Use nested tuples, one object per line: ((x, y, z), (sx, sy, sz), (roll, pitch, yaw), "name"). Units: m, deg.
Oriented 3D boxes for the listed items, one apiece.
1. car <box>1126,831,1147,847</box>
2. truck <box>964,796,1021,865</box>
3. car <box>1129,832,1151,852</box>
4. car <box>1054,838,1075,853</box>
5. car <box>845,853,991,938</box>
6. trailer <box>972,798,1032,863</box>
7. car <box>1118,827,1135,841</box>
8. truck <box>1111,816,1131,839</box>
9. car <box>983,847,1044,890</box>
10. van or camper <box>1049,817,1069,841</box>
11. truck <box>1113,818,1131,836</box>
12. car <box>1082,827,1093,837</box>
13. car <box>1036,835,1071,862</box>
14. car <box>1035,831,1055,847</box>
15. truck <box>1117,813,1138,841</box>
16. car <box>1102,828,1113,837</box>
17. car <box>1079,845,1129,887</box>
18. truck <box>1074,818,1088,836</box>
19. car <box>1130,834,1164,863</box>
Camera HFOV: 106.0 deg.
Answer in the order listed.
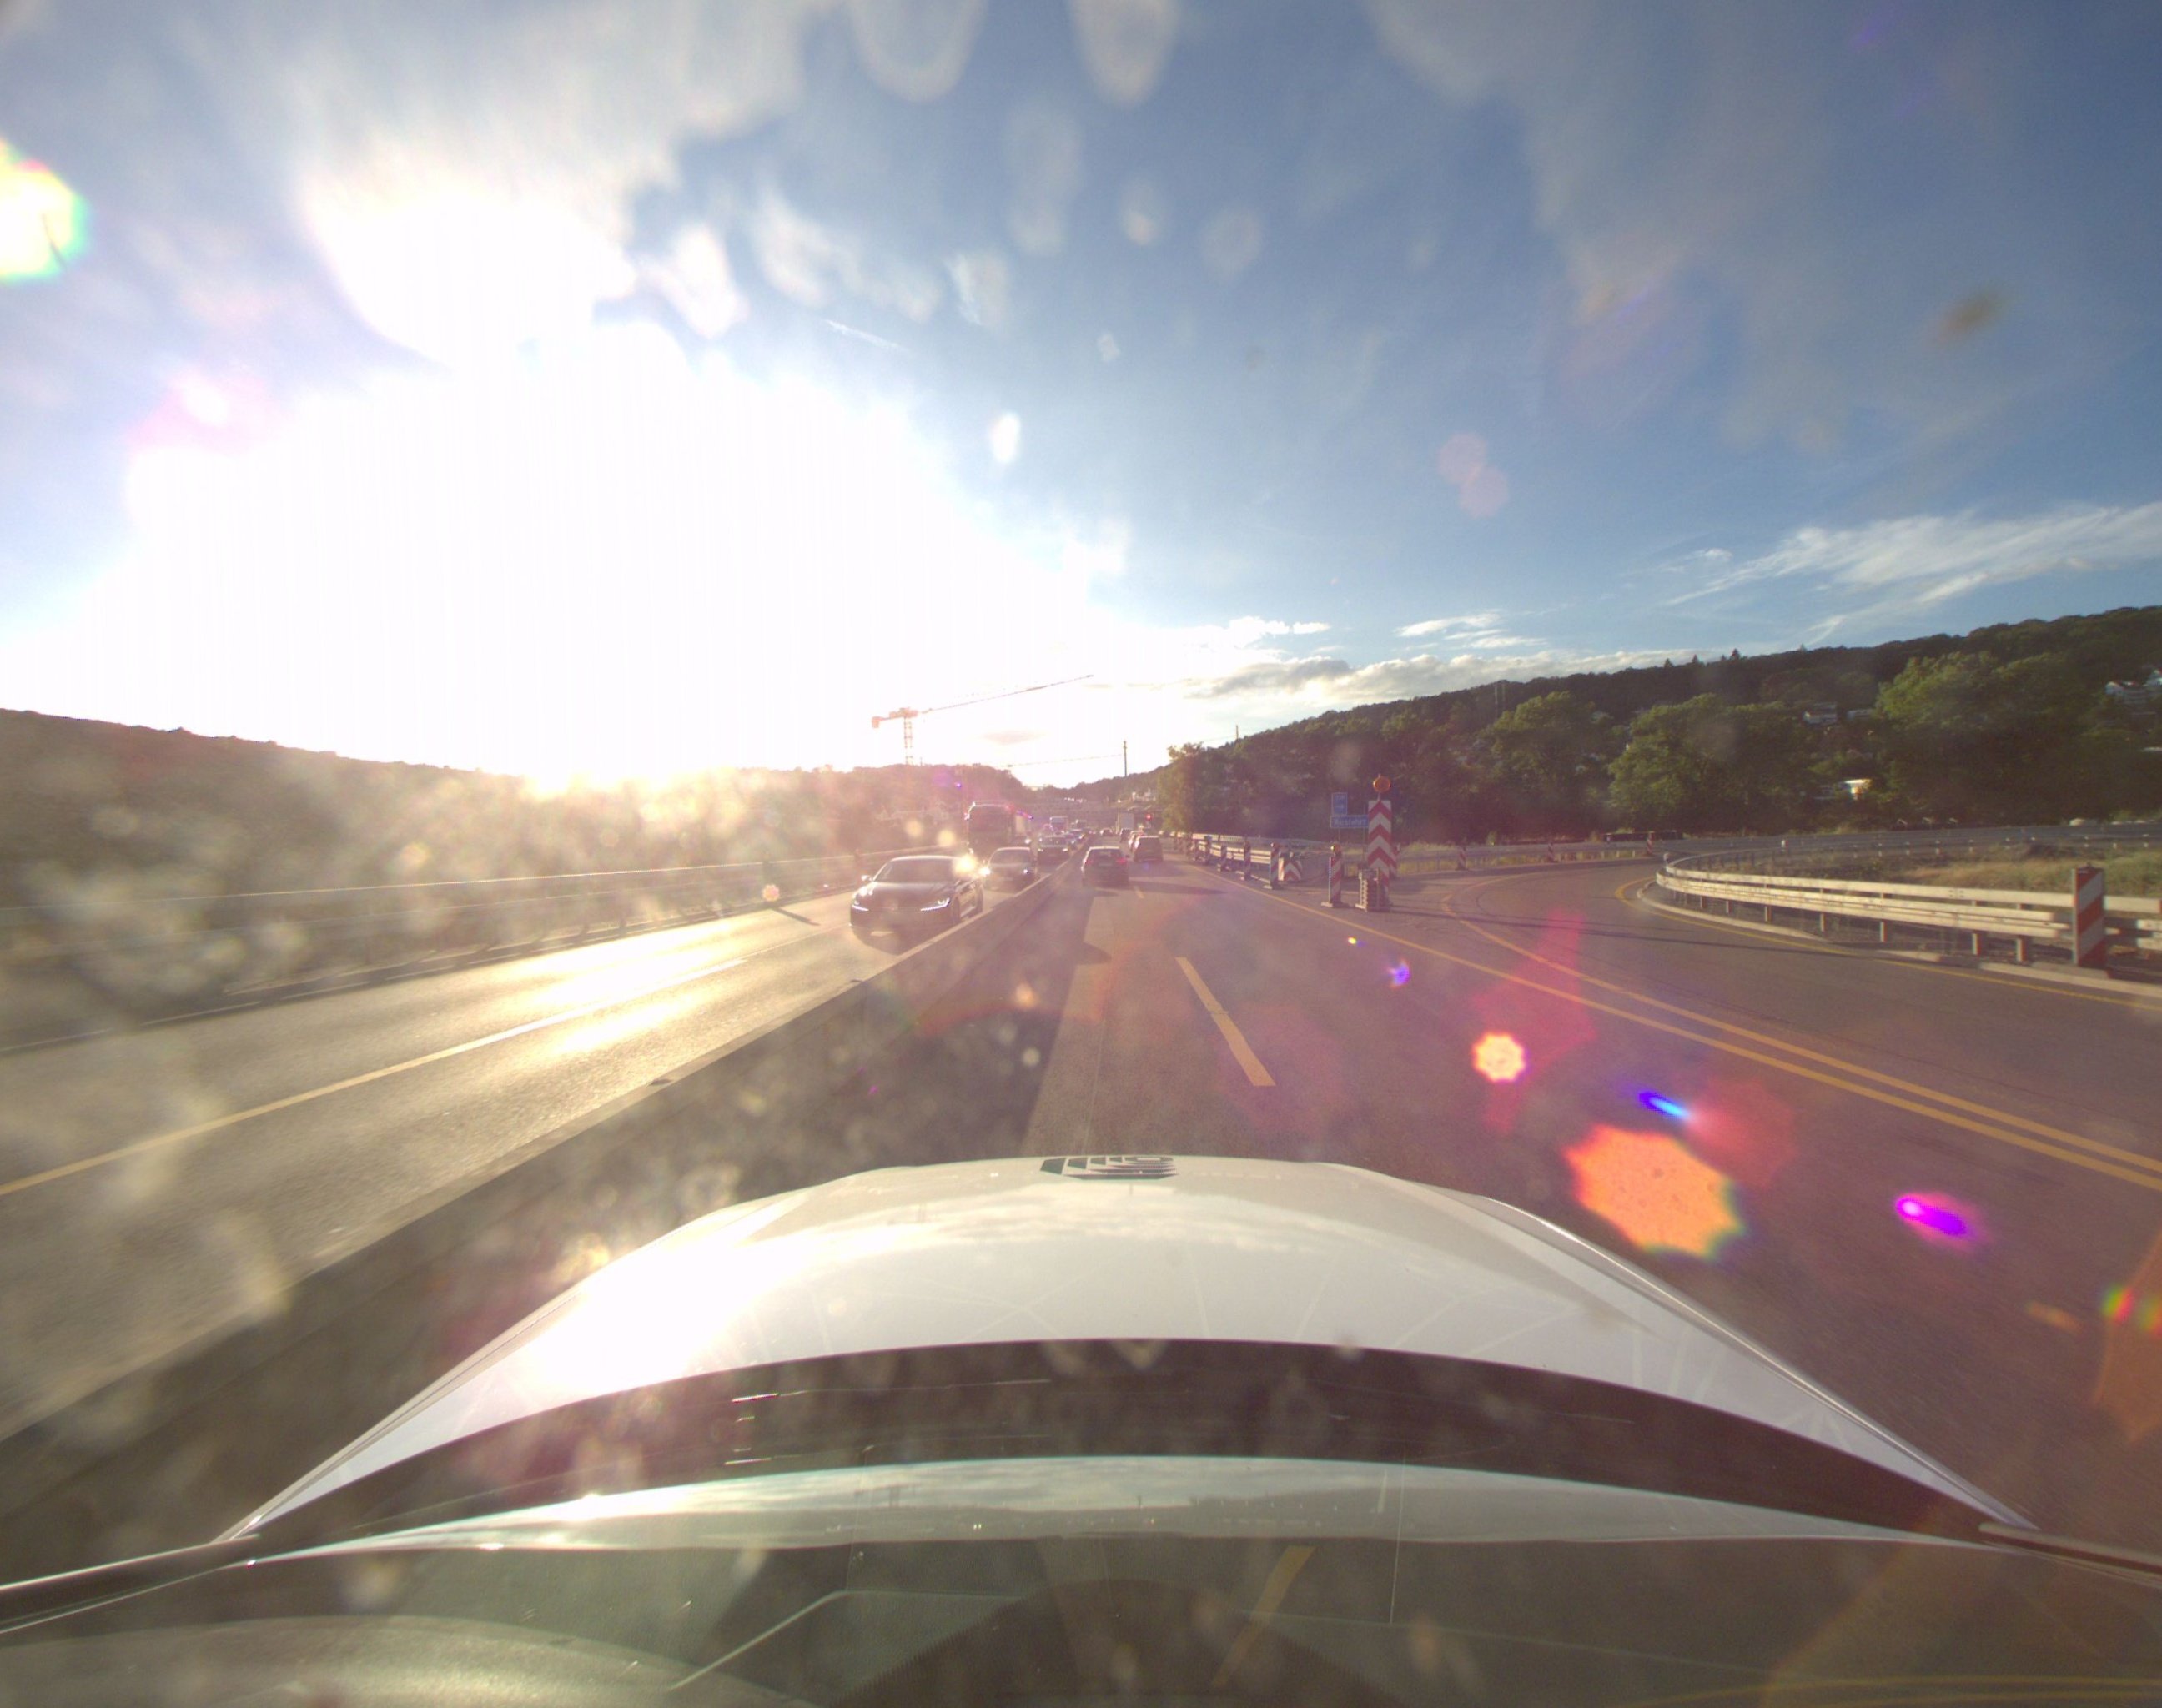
((5.544, -1.499, 81.575), (1.869, 1.599, 4.966), (-1, 1, 1), "car")
((-5.473, -1.462, 51.063), (2.759, 4.080, 5.778), (0, 1, 1), "truck")
((4.944, -1.016, 68.337), (1.767, 1.586, 4.138), (0, 2, 2), "car")
((-1.569, -0.854, 77.752), (1.854, 1.432, 4.157), (0, 1, 1), "car")
((-3.031, 0.706, 16.116), (1.829, 1.409, 4.497), (-1, 0, 2), "car")
((-5.355, -1.610, 57.853), (2.764, 4.030, 13.685), (0, 1, 1), "trailer")
((5.380, -2.318, 96.220), (1.808, 1.632, 4.413), (0, 1, 1), "car")
((8.264, -5.582, 170.839), (3.876, 4.497, 15.276), (0, 2, 2), "truck")
((-2.395, 0.478, 29.767), (1.709, 1.409, 4.329), (-1, 0, 2), "car")
((-3.254, -3.774, 121.208), (2.449, 3.497, 7.417), (-1, 2, 1), "van or camper")
((10.690, -7.157, 214.308), (3.878, 4.497, 13.847), (0, 2, 0), "truck")
((1.170, -3.756, 137.792), (1.821, 1.639, 4.531), (-1, 2, 0), "car")
((-1.672, -0.339, 51.591), (1.904, 1.609, 4.497), (-1, 0, 2), "car")
((-4.105, -1.706, 94.106), (1.986, 1.764, 4.443), (0, 1, 2), "car")
((7.890, -4.820, 139.149), (3.372, 4.497, 15.280), (0, 3, 2), "truck")
((4.305, -3.539, 133.260), (1.856, 1.420, 4.002), (0, 1, 2), "car")
((0.834, 0.412, 31.159), (1.764, 1.389, 4.001), (0, 2, 0), "car")
((-0.010, -6.347, 189.974), (2.803, 4.048, 5.677), (-1, 1, 3), "truck")
((4.195, -0.405, 52.132), (1.806, 1.615, 4.528), (-2, 2, 1), "car")
